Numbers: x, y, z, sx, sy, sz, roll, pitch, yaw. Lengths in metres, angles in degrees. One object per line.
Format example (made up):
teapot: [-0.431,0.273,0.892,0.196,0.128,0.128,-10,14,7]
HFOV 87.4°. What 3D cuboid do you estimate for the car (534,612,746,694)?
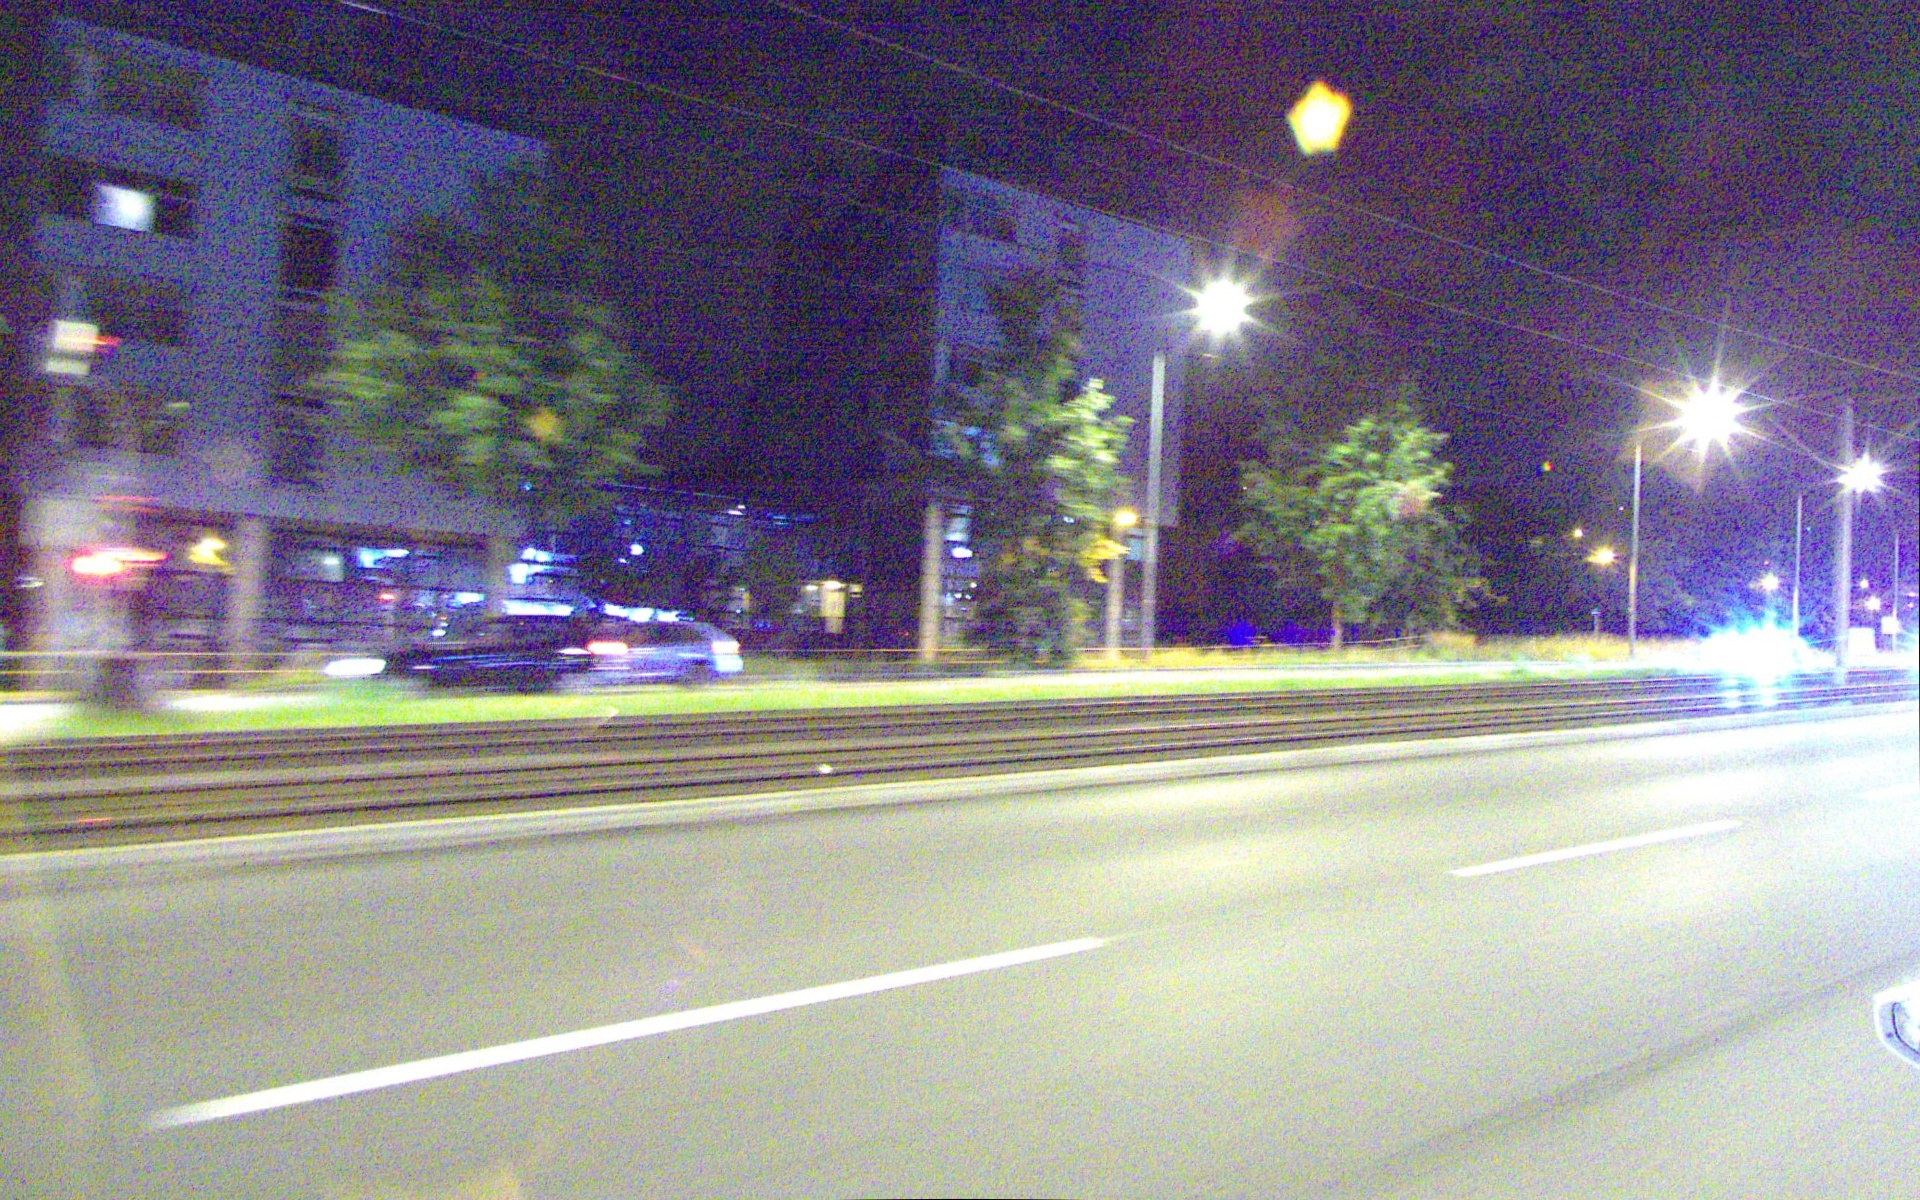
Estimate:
car: [-6.533,1.070,20.572,3.863,1.537,1.653,2,-1,-29]

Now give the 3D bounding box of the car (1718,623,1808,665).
car: [35.720,1.951,44.651,4.178,1.736,1.770,2,-1,-31]

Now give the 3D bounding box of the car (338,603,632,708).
car: [-7.735,0.909,16.502,4.128,1.517,1.775,3,-1,-31]
